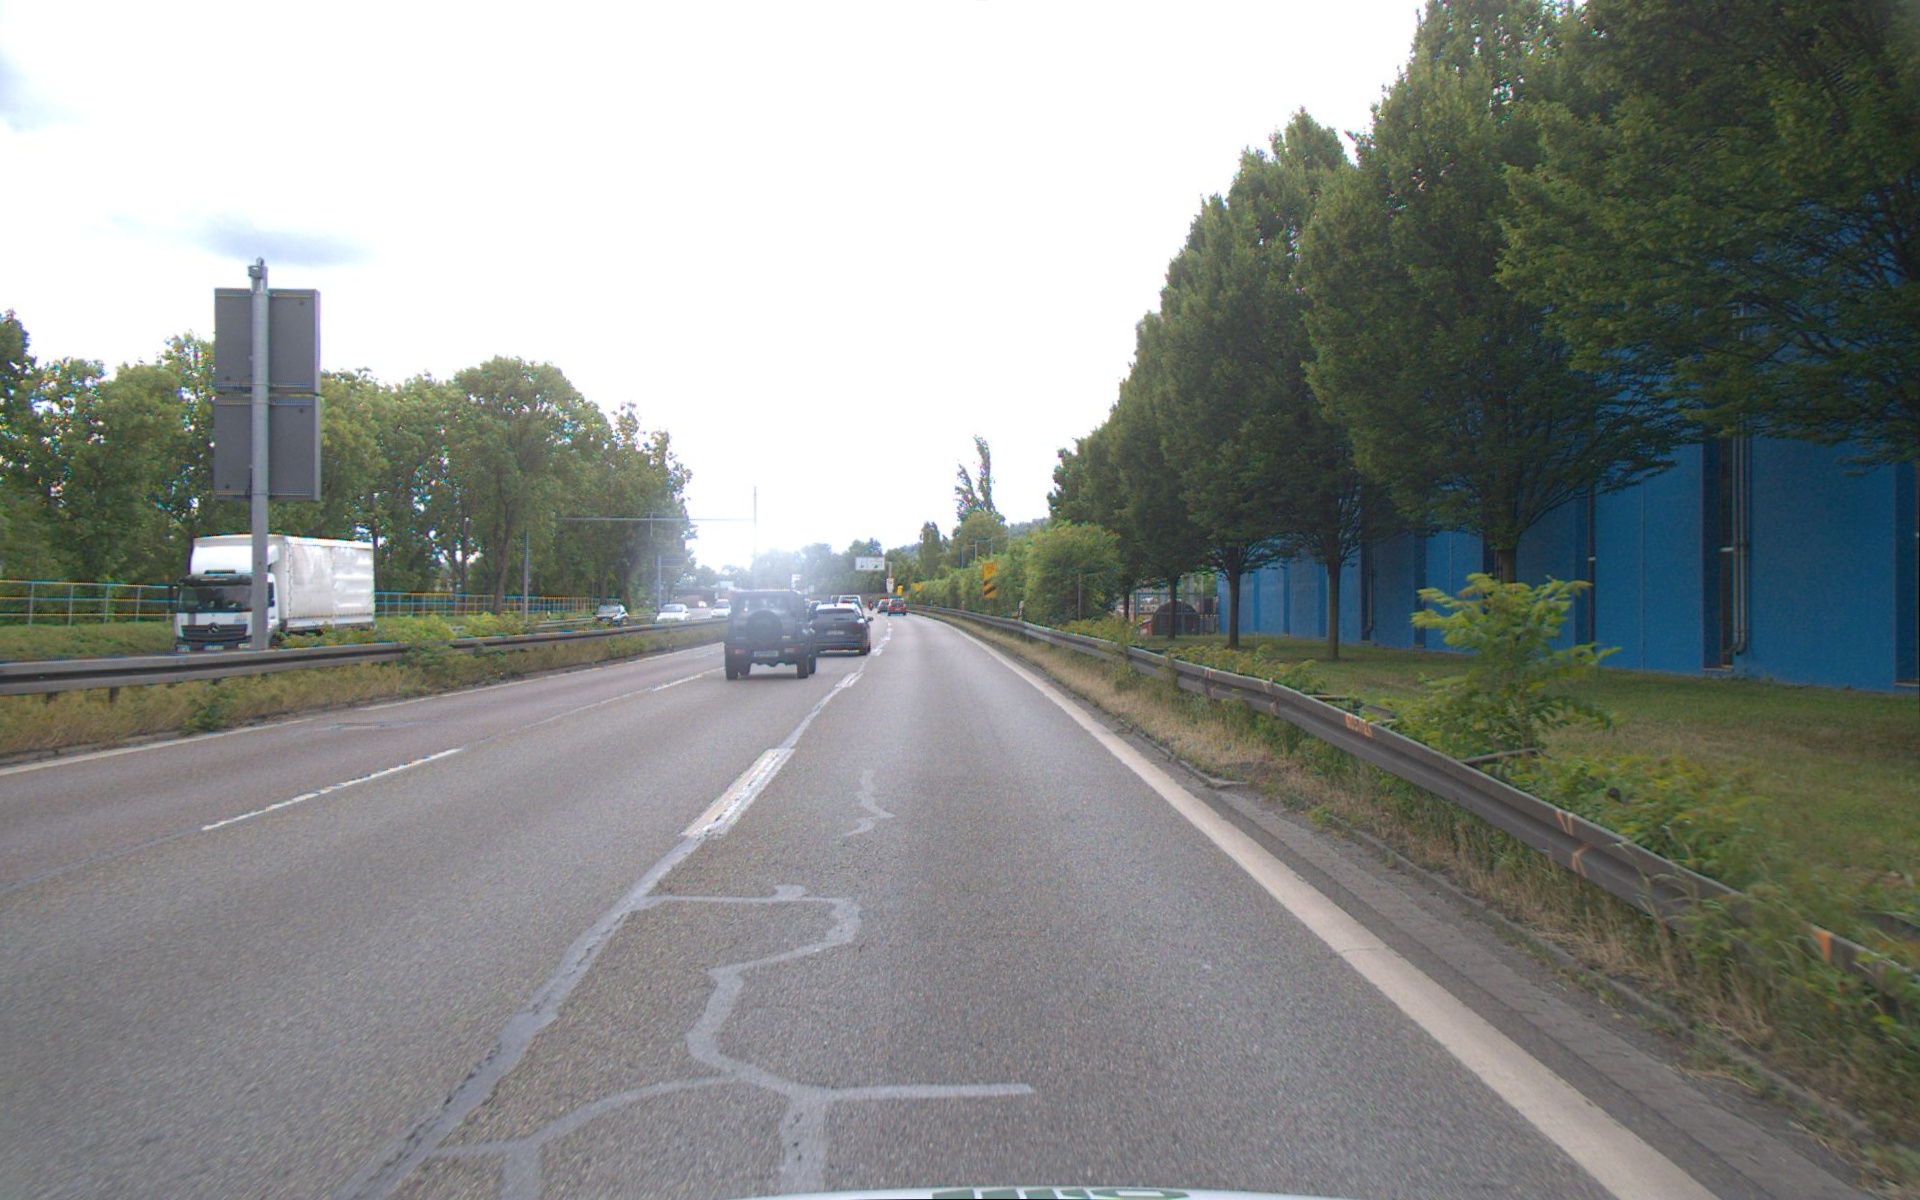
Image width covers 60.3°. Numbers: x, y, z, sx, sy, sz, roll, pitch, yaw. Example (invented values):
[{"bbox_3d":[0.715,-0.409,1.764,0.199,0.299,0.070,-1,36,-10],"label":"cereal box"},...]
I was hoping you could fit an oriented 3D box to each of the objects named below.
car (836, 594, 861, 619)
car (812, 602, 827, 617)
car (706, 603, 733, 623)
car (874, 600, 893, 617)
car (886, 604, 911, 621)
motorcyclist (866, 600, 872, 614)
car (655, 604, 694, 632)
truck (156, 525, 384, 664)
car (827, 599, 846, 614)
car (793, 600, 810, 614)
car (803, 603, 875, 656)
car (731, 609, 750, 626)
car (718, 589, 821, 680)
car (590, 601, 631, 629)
[{"bbox_3d":[-8.208,0.485,122.208,1.663,1.772,3.998,-1,0,-2],"label":"car"},{"bbox_3d":[-17.505,1.208,206.268,1.665,1.772,4.386,-2,0,-7],"label":"car"},{"bbox_3d":[-21.460,1.128,147.652,1.829,1.704,4.717,-2,0,-2],"label":"car"},{"bbox_3d":[-8.168,0.856,175.905,1.665,1.772,4.386,0,0,-7],"label":"car"},{"bbox_3d":[-5.750,1.162,153.510,1.936,1.448,4.894,-1,0,-6],"label":"car"},{"bbox_3d":[-11.611,0.915,210.925,0.776,1.791,0.921,0,0,-7],"label":"motorcyclist"},{"bbox_3d":[-18.101,1.109,104.980,1.663,1.633,4.537,-2,0,-1],"label":"car"},{"bbox_3d":[-20.054,-0.122,48.850,2.830,3.641,9.584,-1,0,-1],"label":"truck"},{"bbox_3d":[-16.879,0.957,225.934,1.977,1.968,4.887,-1,0,-11],"label":"car"},{"bbox_3d":[-23.905,1.080,249.429,1.978,1.968,4.886,-1,0,-12],"label":"car"},{"bbox_3d":[-3.445,0.826,47.905,1.807,1.448,4.899,0,0,-1],"label":"car"},{"bbox_3d":[-24.215,1.890,182.605,1.691,1.806,3.740,-1,0,-1],"label":"car"},{"bbox_3d":[-3.759,0.636,33.202,1.663,1.715,3.999,0,0,-1],"label":"car"},{"bbox_3d":[-21.605,0.921,102.480,1.691,1.633,4.041,-2,0,-1],"label":"car"}]
